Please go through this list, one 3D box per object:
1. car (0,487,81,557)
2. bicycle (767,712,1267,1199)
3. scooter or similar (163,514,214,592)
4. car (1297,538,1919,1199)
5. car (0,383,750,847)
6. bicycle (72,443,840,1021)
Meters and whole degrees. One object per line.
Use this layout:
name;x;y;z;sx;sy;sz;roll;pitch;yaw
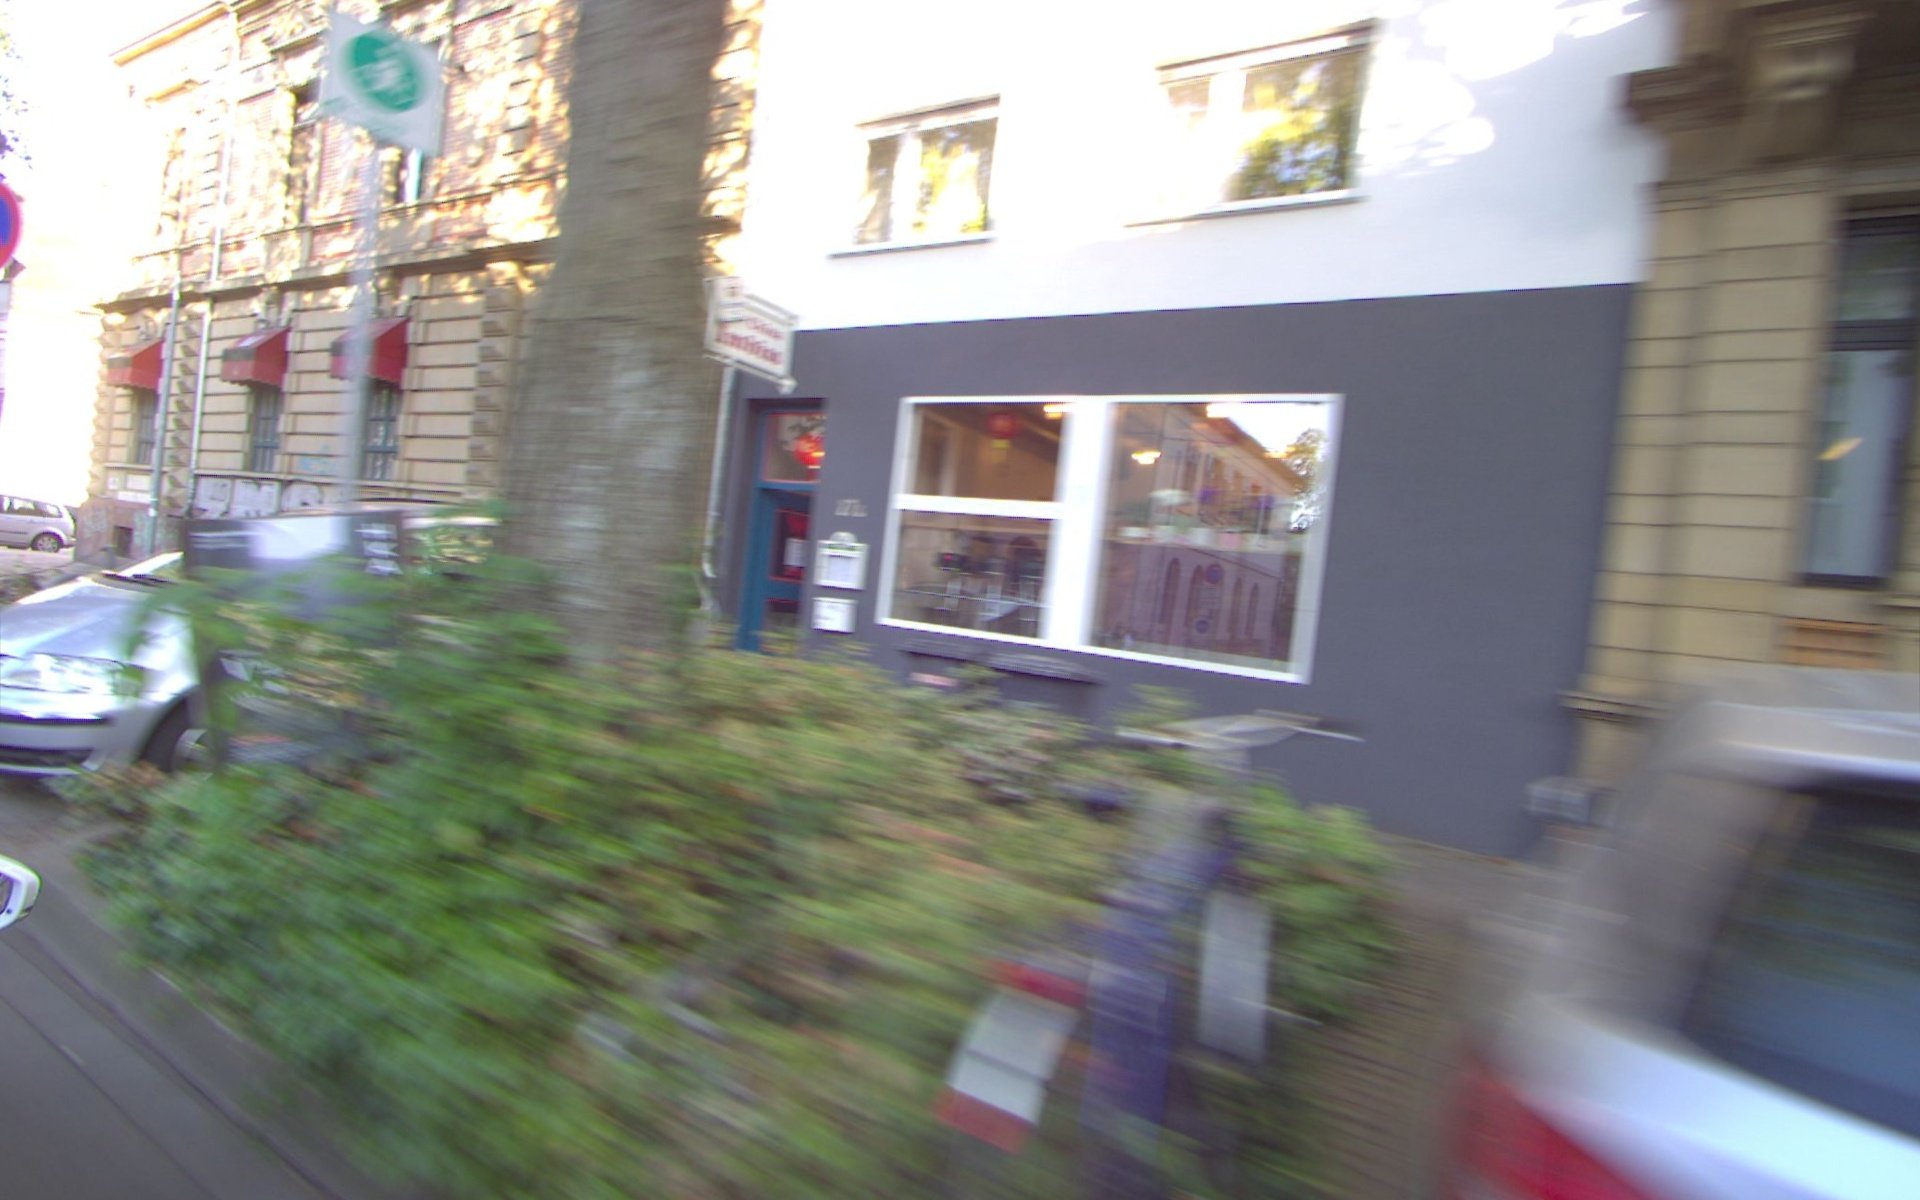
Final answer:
car;-26.369;-2.273;26.525;1.853;1.674;4.347;7;-1;28
bicycle;0.217;0.924;2.275;0.480;1.219;1.338;7;1;31
scooter or similar;-12.938;-0.794;16.860;1.074;1.209;0.251;8;1;33
car;2.311;0.960;2.218;1.939;1.580;4.225;7;1;35
car;-3.718;0.102;6.606;1.917;1.939;4.546;7;0;29
bicycle;-1.776;0.487;4.479;0.647;1.683;3.121;7;-1;27
